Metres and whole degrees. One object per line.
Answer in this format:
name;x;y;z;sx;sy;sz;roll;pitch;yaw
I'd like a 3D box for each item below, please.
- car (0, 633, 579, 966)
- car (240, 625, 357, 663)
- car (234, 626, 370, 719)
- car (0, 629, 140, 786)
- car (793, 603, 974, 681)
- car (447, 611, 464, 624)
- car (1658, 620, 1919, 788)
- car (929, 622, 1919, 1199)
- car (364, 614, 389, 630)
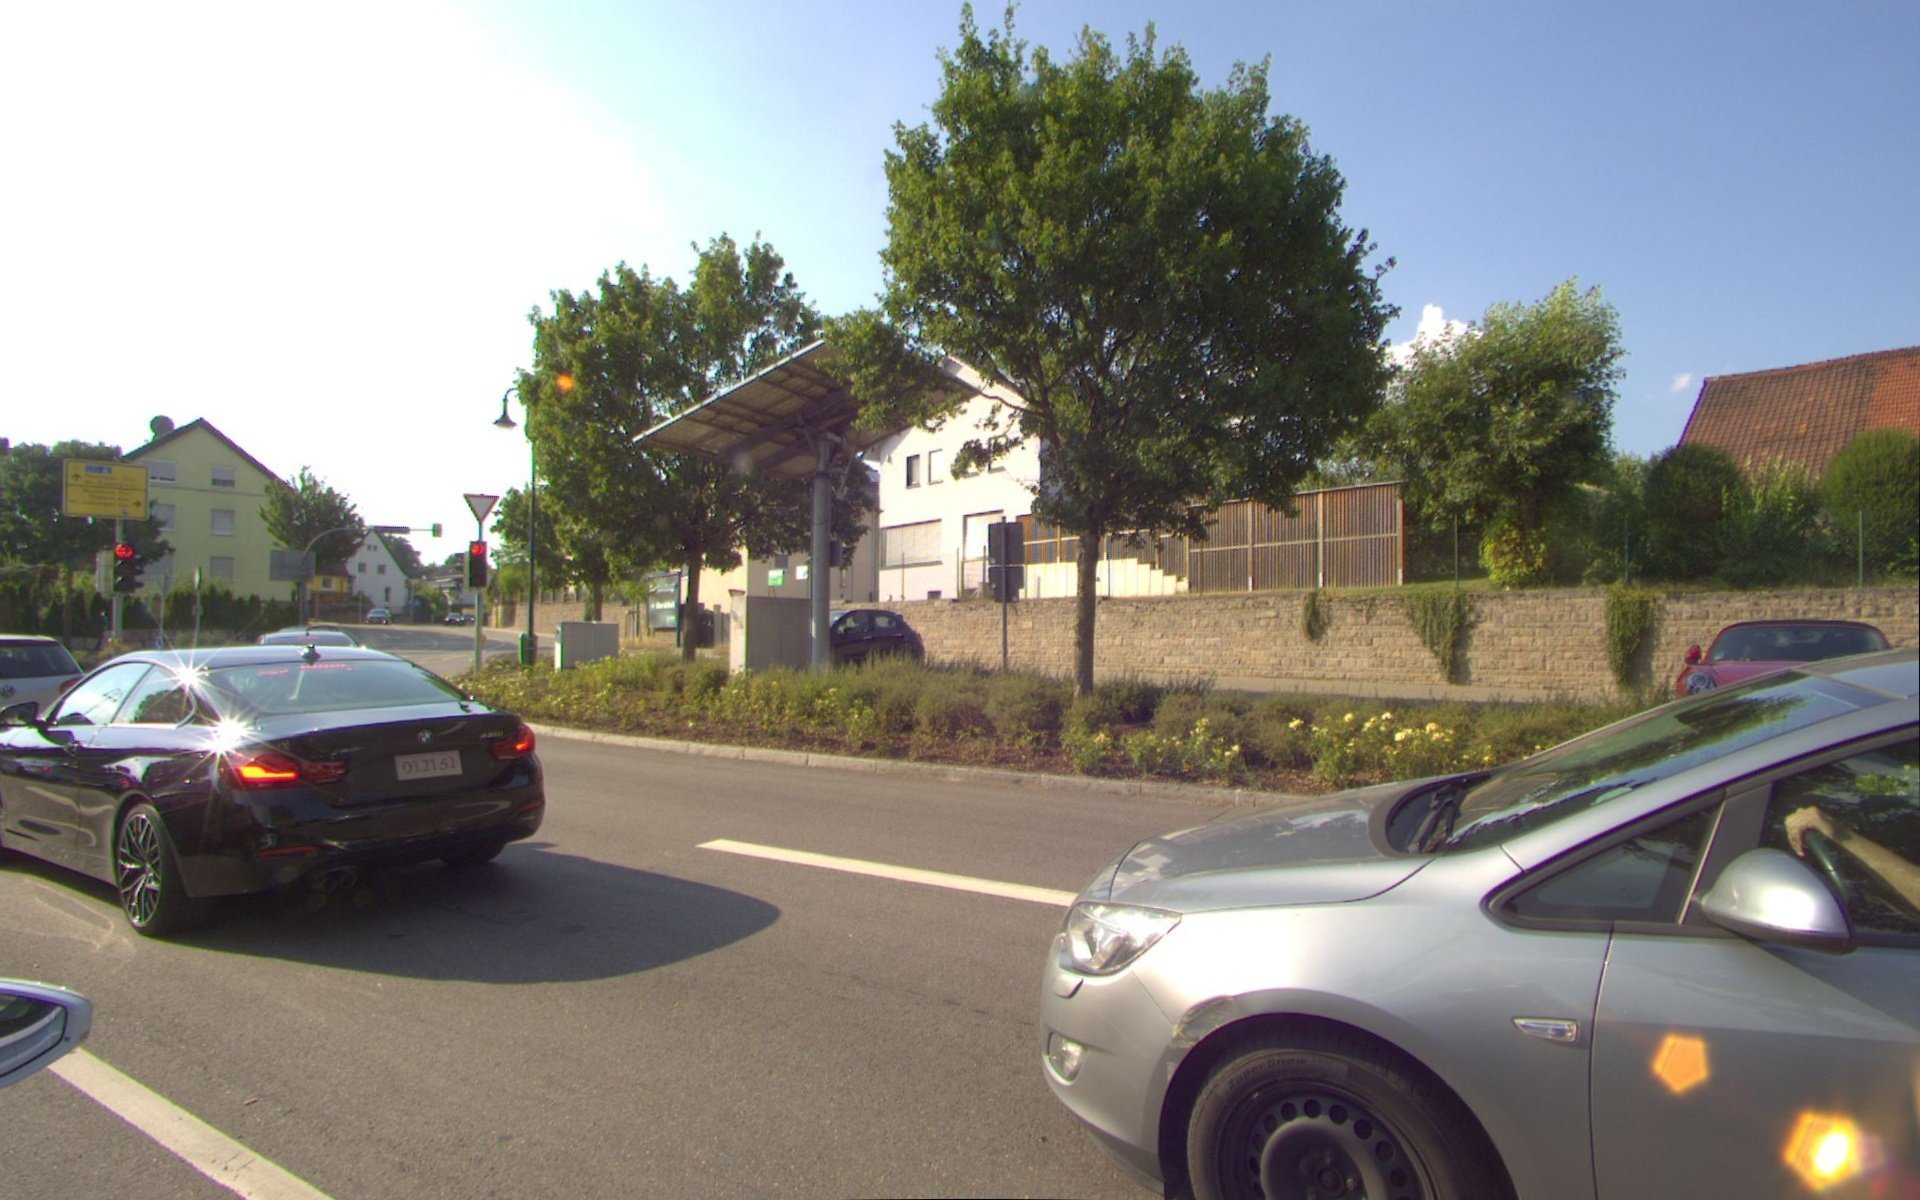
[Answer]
car;-4.478;0.915;6.237;4.287;1.406;1.812;-1;-2;34
car;-28.540;1.866;43.349;1.759;1.526;4.066;0;-1;15
car;-11.813;1.192;17.836;1.667;1.454;4.554;1;-2;-38
car;-10.659;1.043;10.682;4.287;1.465;1.812;-1;-2;34
car;-1.699;0.951;23.079;1.835;1.628;3.964;-1;-2;45
car;-67.890;2.392;134.841;1.753;1.600;3.989;1;-2;-22
car;8.227;0.864;9.654;1.835;1.288;3.964;-1;-2;45
car;2.111;0.785;2.214;4.107;1.460;1.741;-1;-2;32
car;-50.390;1.879;86.498;1.691;1.260;3.981;1;-1;-28
